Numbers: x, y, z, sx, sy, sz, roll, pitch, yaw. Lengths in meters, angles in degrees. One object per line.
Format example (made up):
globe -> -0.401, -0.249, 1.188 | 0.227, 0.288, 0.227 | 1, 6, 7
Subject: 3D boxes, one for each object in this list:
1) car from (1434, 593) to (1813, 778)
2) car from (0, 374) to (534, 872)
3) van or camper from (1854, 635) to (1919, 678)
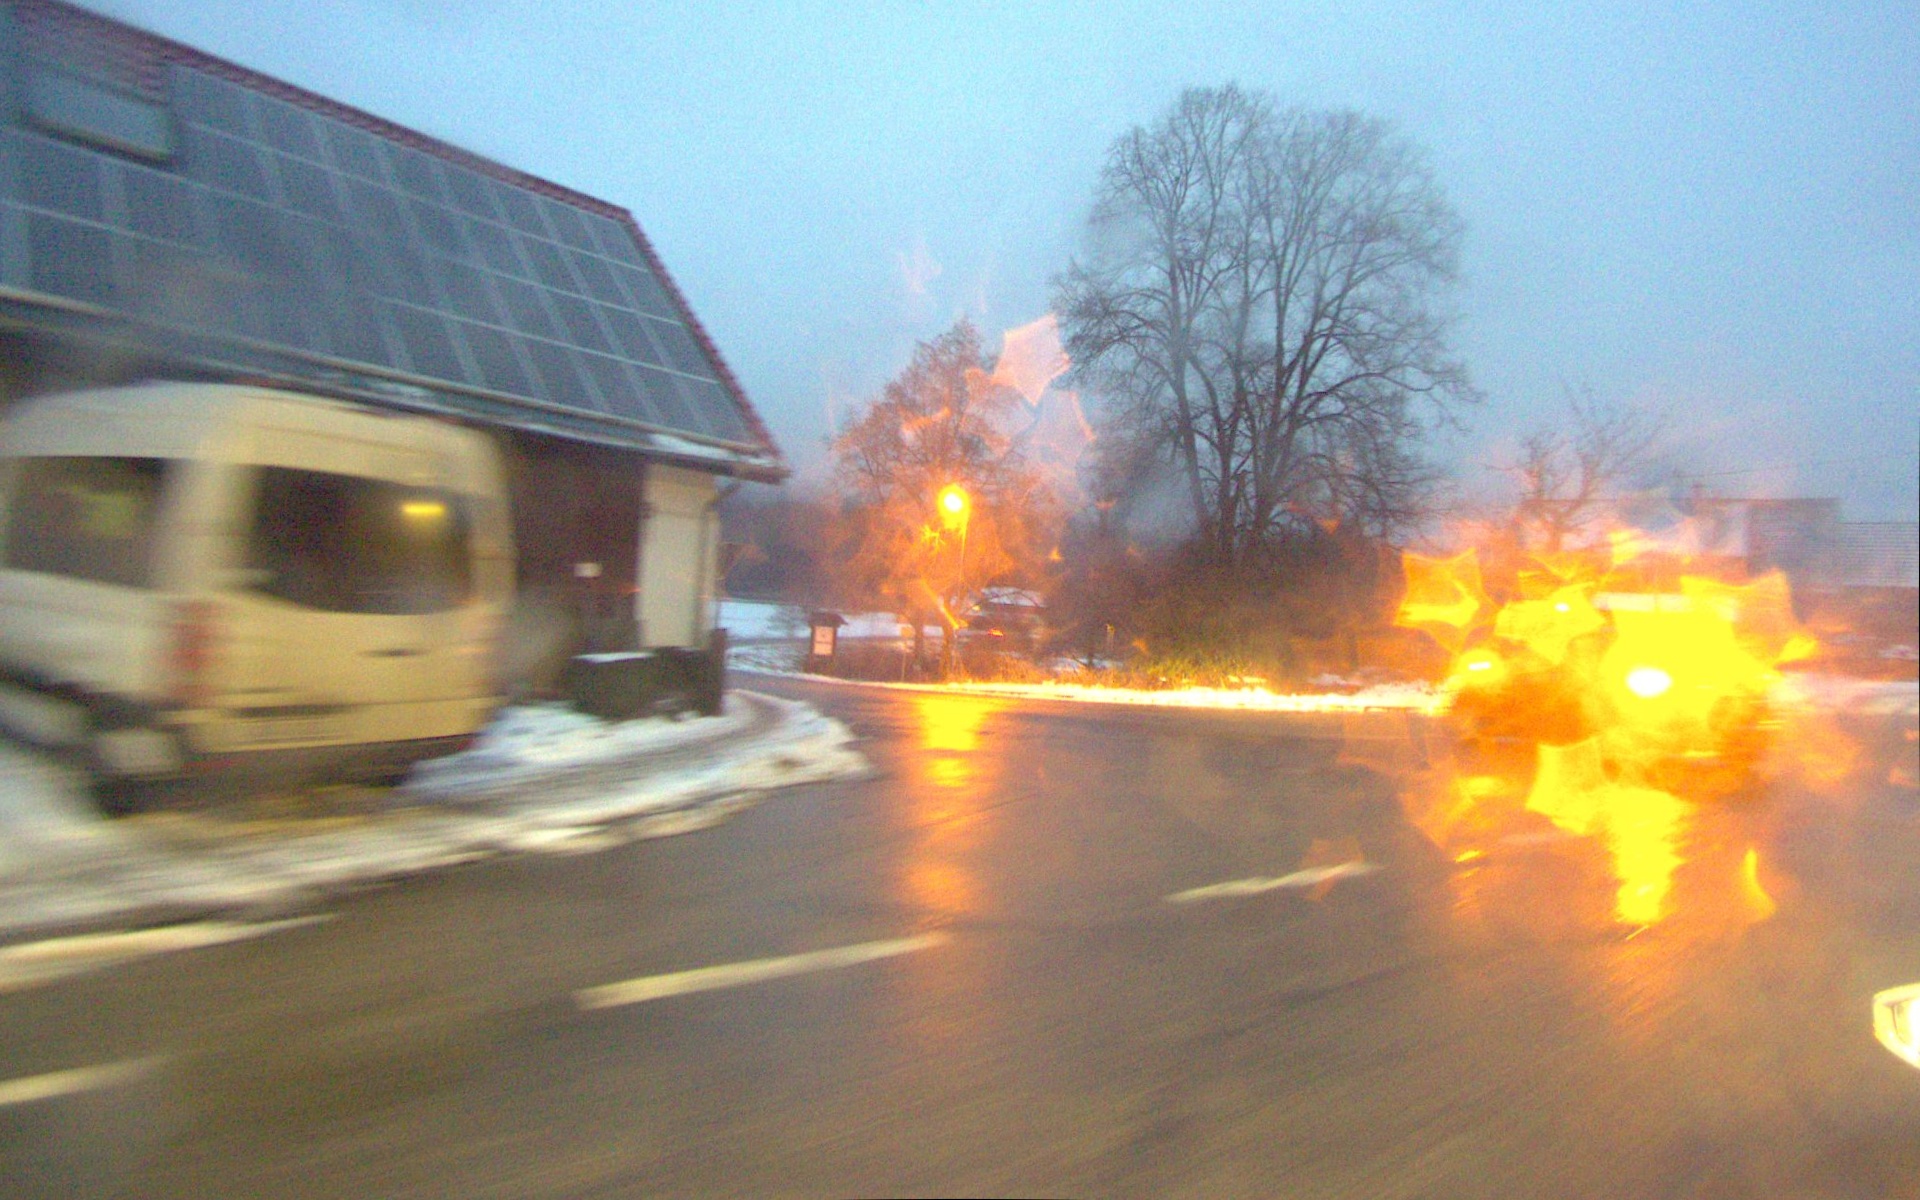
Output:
car -> 7.511, 0.921, 11.824 | 1.795, 1.820, 3.572 | 2, -2, -9
car -> -6.078, -0.076, 7.668 | 6.010, 2.586, 1.996 | 6, 0, 33
van or camper -> 27.729, 1.694, 29.930 | 1.266, 1.116, 3.262 | 3, -2, 36
